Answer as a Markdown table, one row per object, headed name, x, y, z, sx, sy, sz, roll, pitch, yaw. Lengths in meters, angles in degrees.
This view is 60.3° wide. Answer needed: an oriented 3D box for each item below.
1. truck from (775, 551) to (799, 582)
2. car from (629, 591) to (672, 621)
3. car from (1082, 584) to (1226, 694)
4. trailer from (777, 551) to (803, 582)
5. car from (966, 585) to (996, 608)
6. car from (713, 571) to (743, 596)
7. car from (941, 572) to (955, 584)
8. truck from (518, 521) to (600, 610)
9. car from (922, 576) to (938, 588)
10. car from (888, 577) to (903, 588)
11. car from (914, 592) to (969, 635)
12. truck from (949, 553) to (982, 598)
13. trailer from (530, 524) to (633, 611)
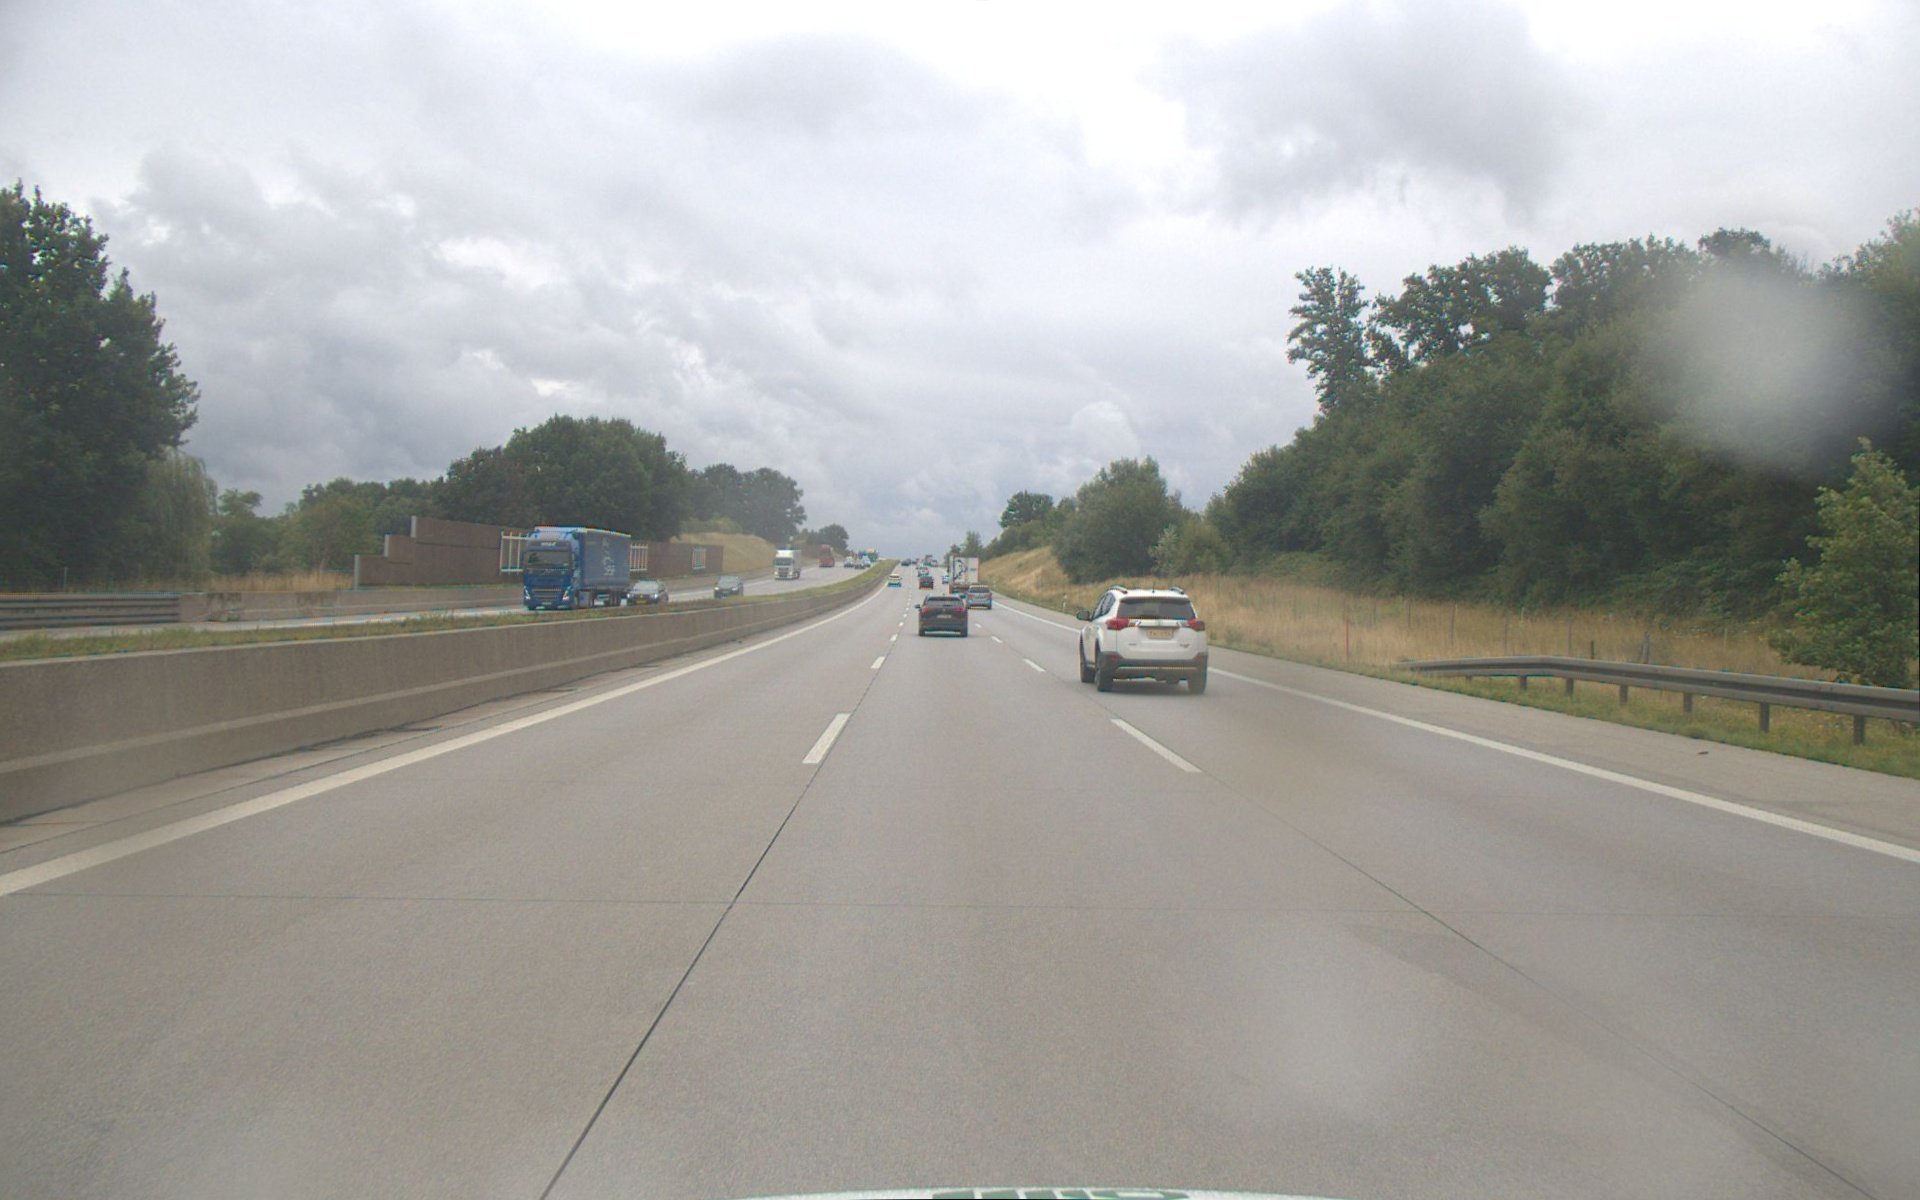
| name | x | y | z | sx | sy | sz | roll | pitch | yaw |
| --- | --- | --- | --- | --- | --- | --- | --- | --- | --- |
| truck | -23.910 | -4.632 | 228.864 | 2.628 | 4.154 | 6.215 | 1 | 1 | -2 |
| car | -16.336 | 0.330 | 87.451 | 1.604 | 1.527 | 4.515 | 1 | -1 | -3 |
| car | 3.185 | 0.607 | 27.909 | 1.789 | 1.684 | 3.983 | 1 | 0 | -2 |
| trailer | -24.094 | -4.760 | 235.240 | 2.642 | 4.167 | 14.001 | 1 | 1 | -2 |
| car | 1.434 | -0.231 | 115.140 | 1.953 | 1.557 | 3.999 | 1 | 0 | -1 |
| car | -17.322 | -1.209 | 123.635 | 1.780 | 1.798 | 4.730 | 1 | 0 | -2 |
| car | -1.750 | -3.277 | 245.371 | 1.952 | 1.668 | 4.000 | 1 | 1 | 1 |
| truck | -20.371 | -1.685 | 84.393 | 2.637 | 4.262 | 6.209 | 1 | -1 | -1 |
| car | -3.718 | -2.298 | 208.176 | 1.896 | 1.399 | 4.594 | 2 | 0 | 0 |
| car | -8.625 | -2.329 | 221.583 | 1.908 | 1.379 | 4.259 | 1 | 1 | 0 |
| car | -0.690 | 0.510 | 58.104 | 1.718 | 1.423 | 4.480 | 1 | -1 | -3 |
| truck | 0.455 | -2.377 | 163.144 | 2.956 | 4.253 | 8.352 | 1 | 1 | -1 |
| trailer | -20.527 | -1.613 | 90.623 | 2.655 | 4.282 | 13.788 | 1 | -1 | -1 |
